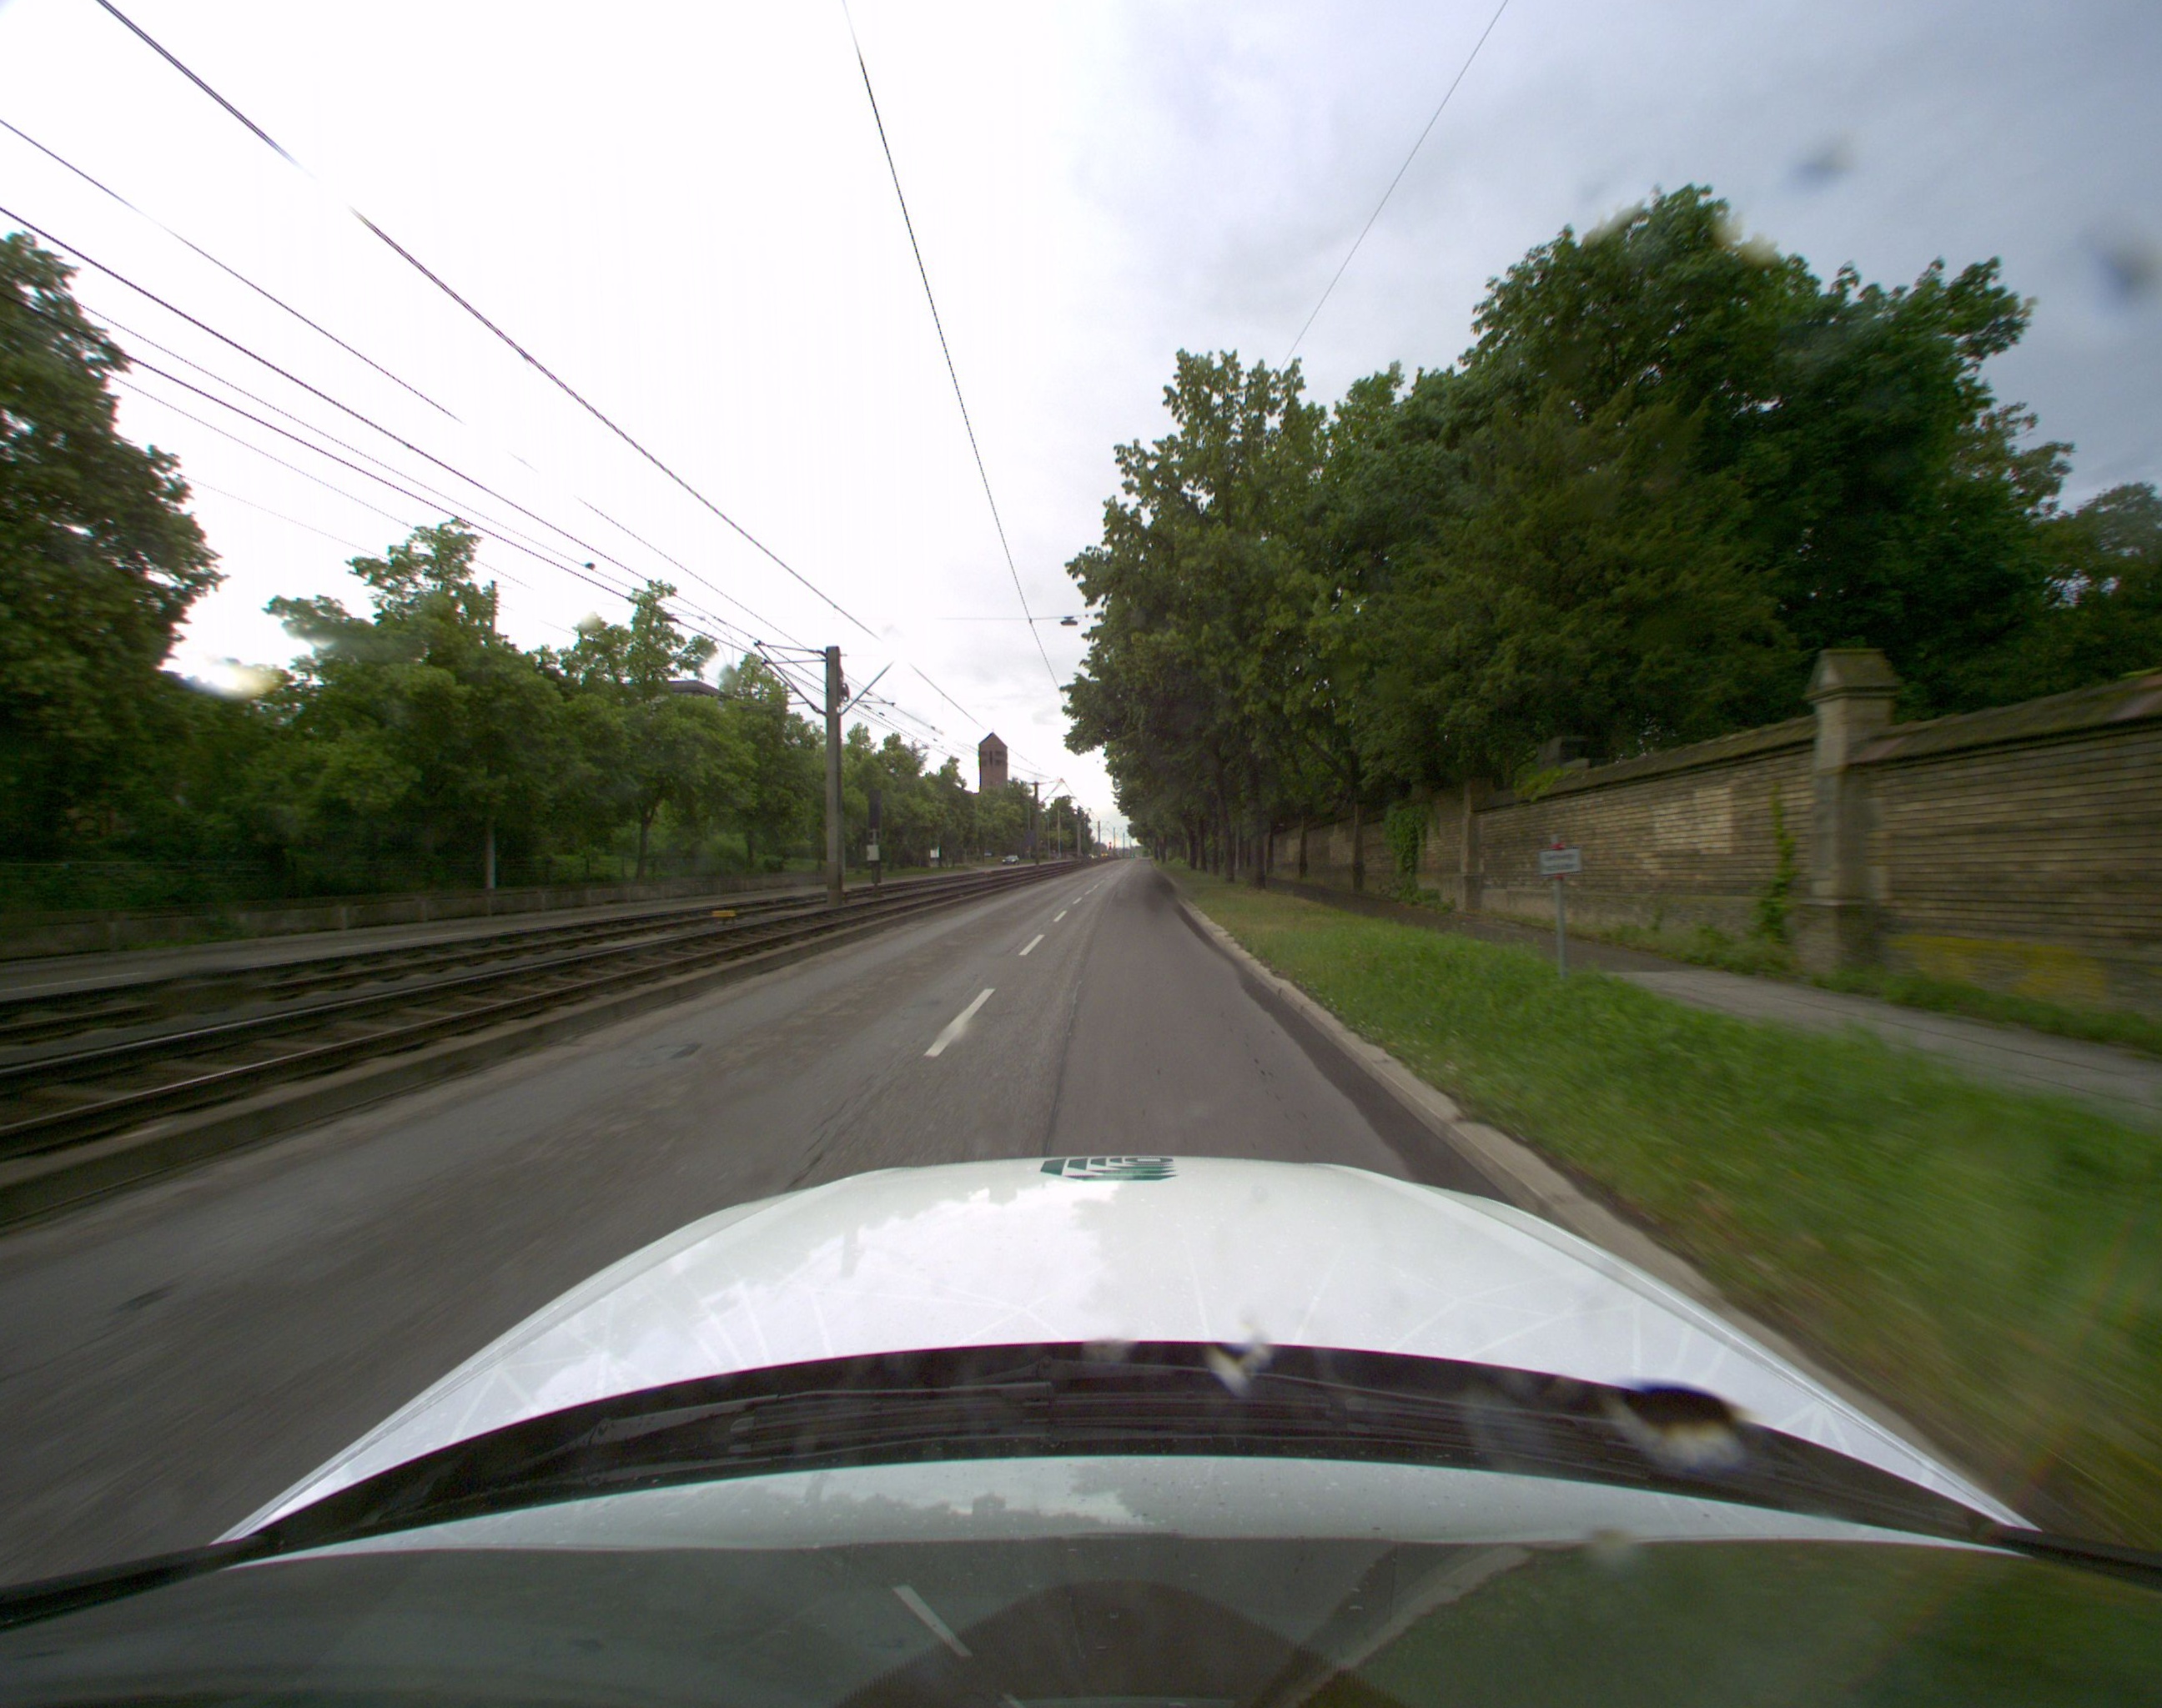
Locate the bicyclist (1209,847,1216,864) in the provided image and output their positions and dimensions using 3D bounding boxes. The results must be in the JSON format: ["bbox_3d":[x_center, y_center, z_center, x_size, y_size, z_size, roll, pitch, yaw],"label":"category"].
[{"bbox_3d":[10.809,0.097,67.132,0.532,1.389,0.668,-1,-1,7],"label":"bicyclist"}]

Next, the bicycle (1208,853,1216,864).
[{"bbox_3d":[10.802,0.373,67.069,0.540,0.948,2.555,-1,0,8],"label":"bicycle"}]

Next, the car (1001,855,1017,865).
[{"bbox_3d":[-10.726,0.887,122.028,1.787,1.530,4.626,-1,0,3],"label":"car"}]
